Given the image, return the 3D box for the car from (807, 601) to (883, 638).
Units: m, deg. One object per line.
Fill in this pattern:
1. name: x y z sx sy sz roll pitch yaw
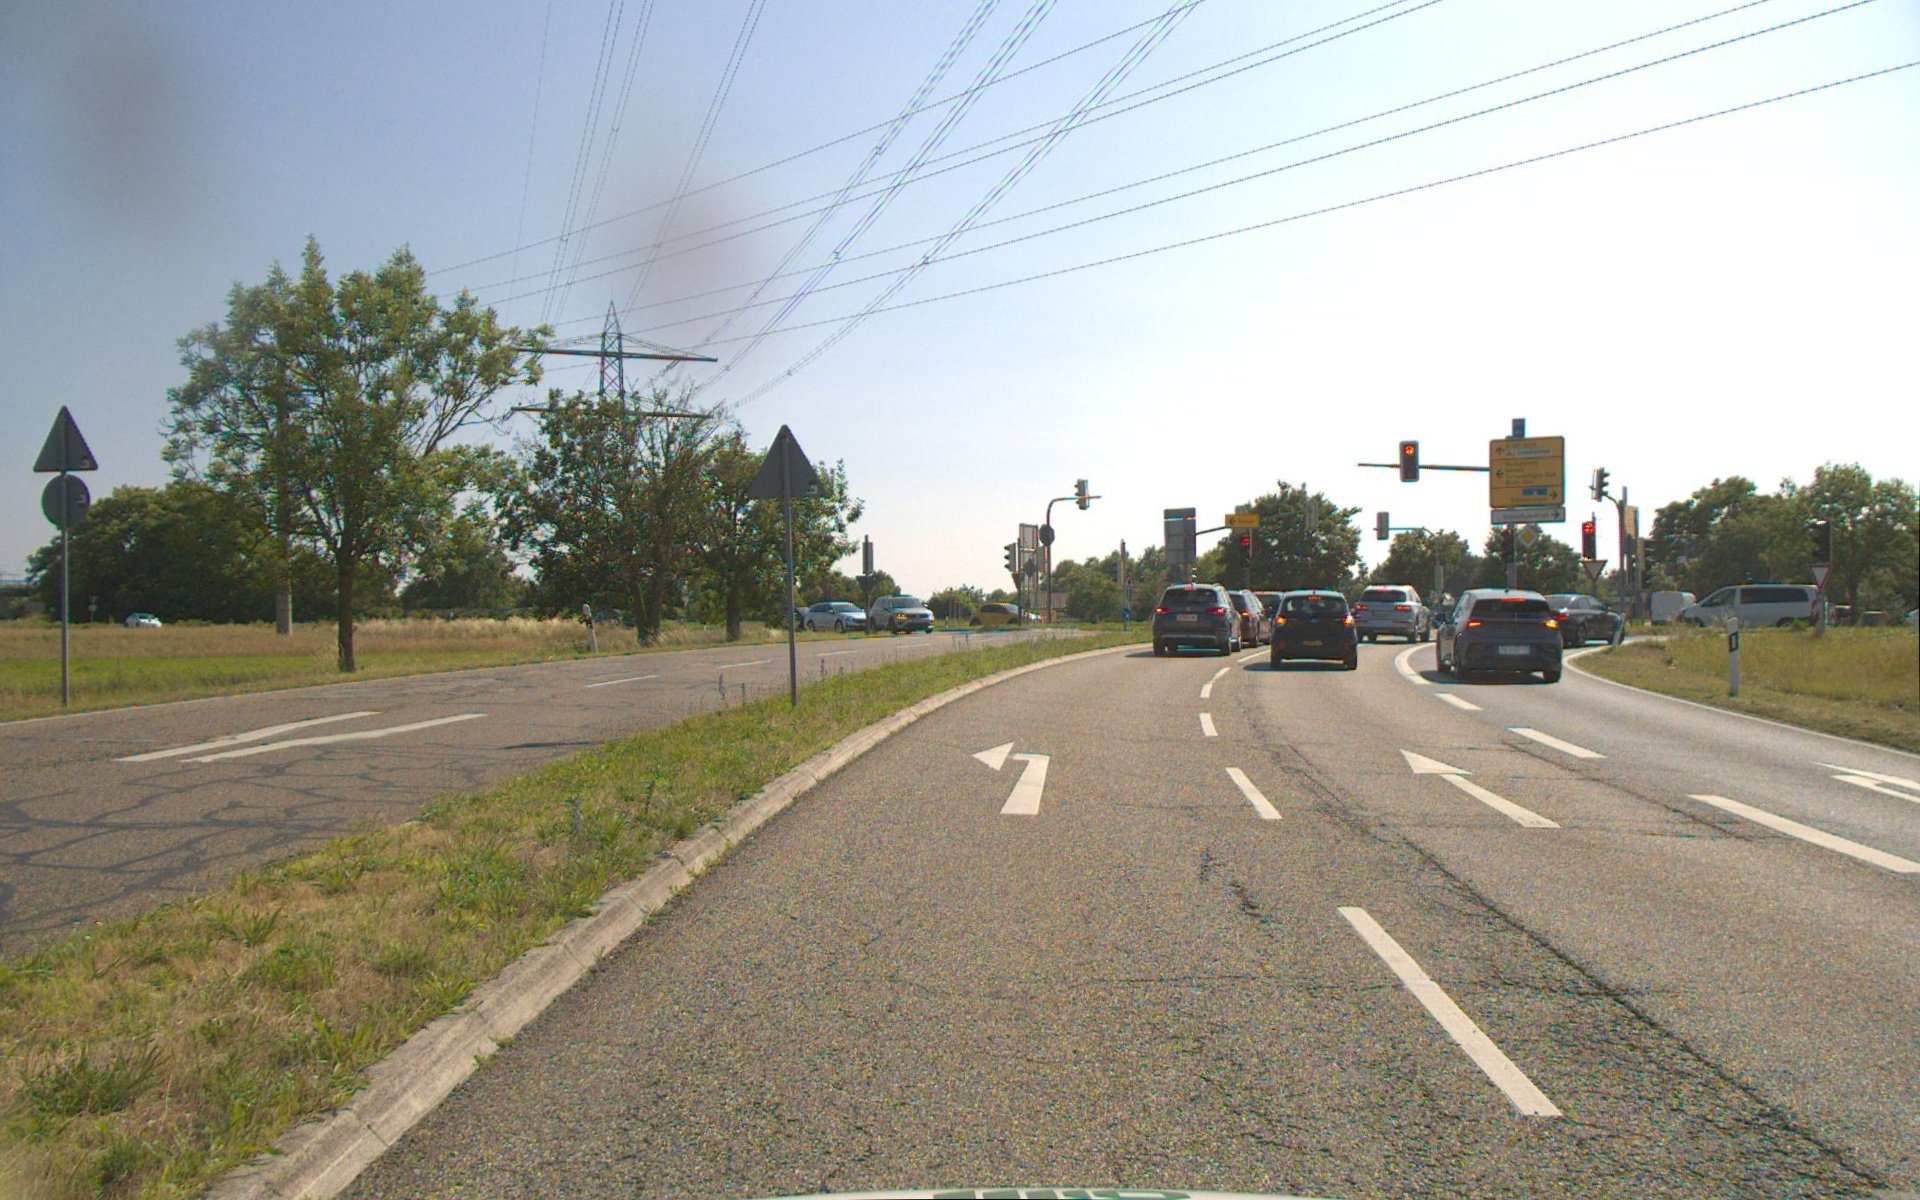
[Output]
1. car: -5.400 0.915 77.108 1.799 1.680 3.952 0 -1 -34

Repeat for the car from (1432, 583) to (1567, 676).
1. car: 9.576 0.477 29.630 1.735 1.544 4.103 -1 1 10

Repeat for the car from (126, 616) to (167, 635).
1. car: -74.318 2.347 151.118 4.678 1.680 1.808 0 -1 43

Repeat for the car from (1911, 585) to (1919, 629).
1. car: 35.812 0.217 57.797 4.256 1.545 1.798 -1 -1 41

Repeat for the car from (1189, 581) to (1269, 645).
1. car: 7.182 0.342 43.889 1.705 1.596 3.627 1 0 15

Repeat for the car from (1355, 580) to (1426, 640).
1. car: 12.819 0.286 49.177 1.599 1.706 3.749 1 0 21

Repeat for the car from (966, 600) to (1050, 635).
1. car: 2.329 0.847 81.197 3.930 1.680 1.809 -1 -1 43

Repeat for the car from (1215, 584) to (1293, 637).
1. car: 8.917 0.323 49.950 1.706 1.510 3.625 1 0 20

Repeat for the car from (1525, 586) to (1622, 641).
1. car: 16.981 0.354 45.696 1.613 1.410 3.988 -1 0 34

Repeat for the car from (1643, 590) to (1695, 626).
1. car: 43.873 0.497 102.296 1.898 2.174 4.621 1 0 37

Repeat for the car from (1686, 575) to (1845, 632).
1. car: 29.015 0.084 59.665 4.857 1.951 1.989 1 1 41

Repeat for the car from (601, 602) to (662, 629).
1. car: -20.626 0.978 103.869 3.930 1.680 1.809 -1 -1 43

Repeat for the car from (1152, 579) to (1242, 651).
1. car: 5.573 0.337 38.642 1.705 1.596 3.627 0 0 14

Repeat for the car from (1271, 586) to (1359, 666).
1. car: 7.022 0.482 32.692 1.598 1.473 3.298 1 0 12

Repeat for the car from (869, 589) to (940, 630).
1. car: -2.409 0.411 71.043 1.789 1.680 3.973 0 0 -22
